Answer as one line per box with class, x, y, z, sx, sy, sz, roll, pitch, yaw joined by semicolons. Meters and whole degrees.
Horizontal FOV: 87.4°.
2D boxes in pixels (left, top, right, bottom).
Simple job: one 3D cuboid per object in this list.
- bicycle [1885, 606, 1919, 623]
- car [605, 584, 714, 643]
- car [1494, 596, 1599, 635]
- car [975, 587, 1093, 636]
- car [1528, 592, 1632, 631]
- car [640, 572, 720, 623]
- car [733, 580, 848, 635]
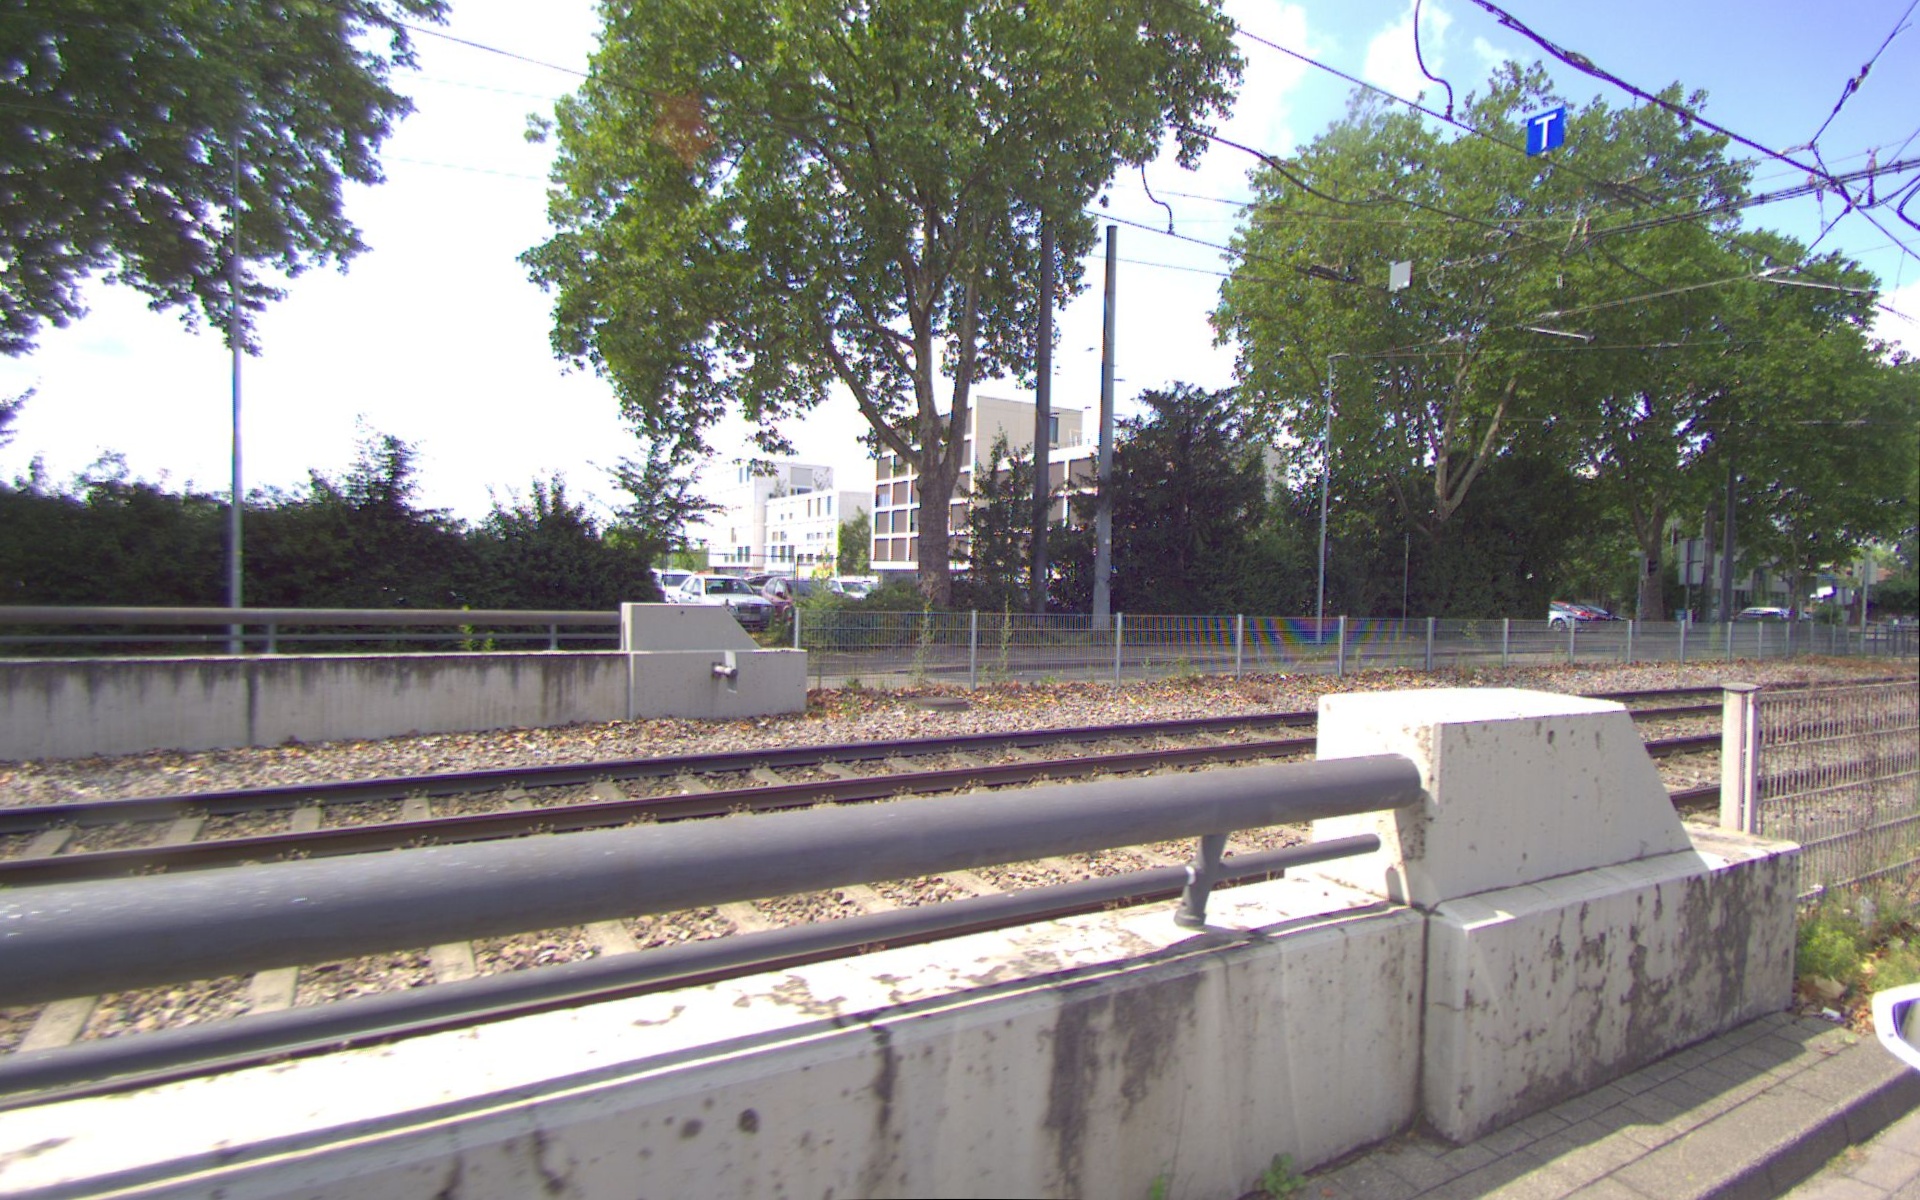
bicycle;74.405;1.178;78.526;0.626;1.183;3.027;1;4;-26
car;-8.235;0.327;27.282;1.977;1.461;3.967;1;1;-30
car;28.082;0.723;48.215;1.785;1.773;3.962;0;0;-34
car;2.344;0.346;32.868;1.977;1.461;3.967;1;1;-30
car;30.122;0.536;48.900;1.785;1.773;3.962;0;0;-34
car;-10.567;-0.110;37.751;1.977;1.795;3.967;1;1;-30
car;-4.944;0.170;28.877;1.977;1.461;3.967;1;1;-30
